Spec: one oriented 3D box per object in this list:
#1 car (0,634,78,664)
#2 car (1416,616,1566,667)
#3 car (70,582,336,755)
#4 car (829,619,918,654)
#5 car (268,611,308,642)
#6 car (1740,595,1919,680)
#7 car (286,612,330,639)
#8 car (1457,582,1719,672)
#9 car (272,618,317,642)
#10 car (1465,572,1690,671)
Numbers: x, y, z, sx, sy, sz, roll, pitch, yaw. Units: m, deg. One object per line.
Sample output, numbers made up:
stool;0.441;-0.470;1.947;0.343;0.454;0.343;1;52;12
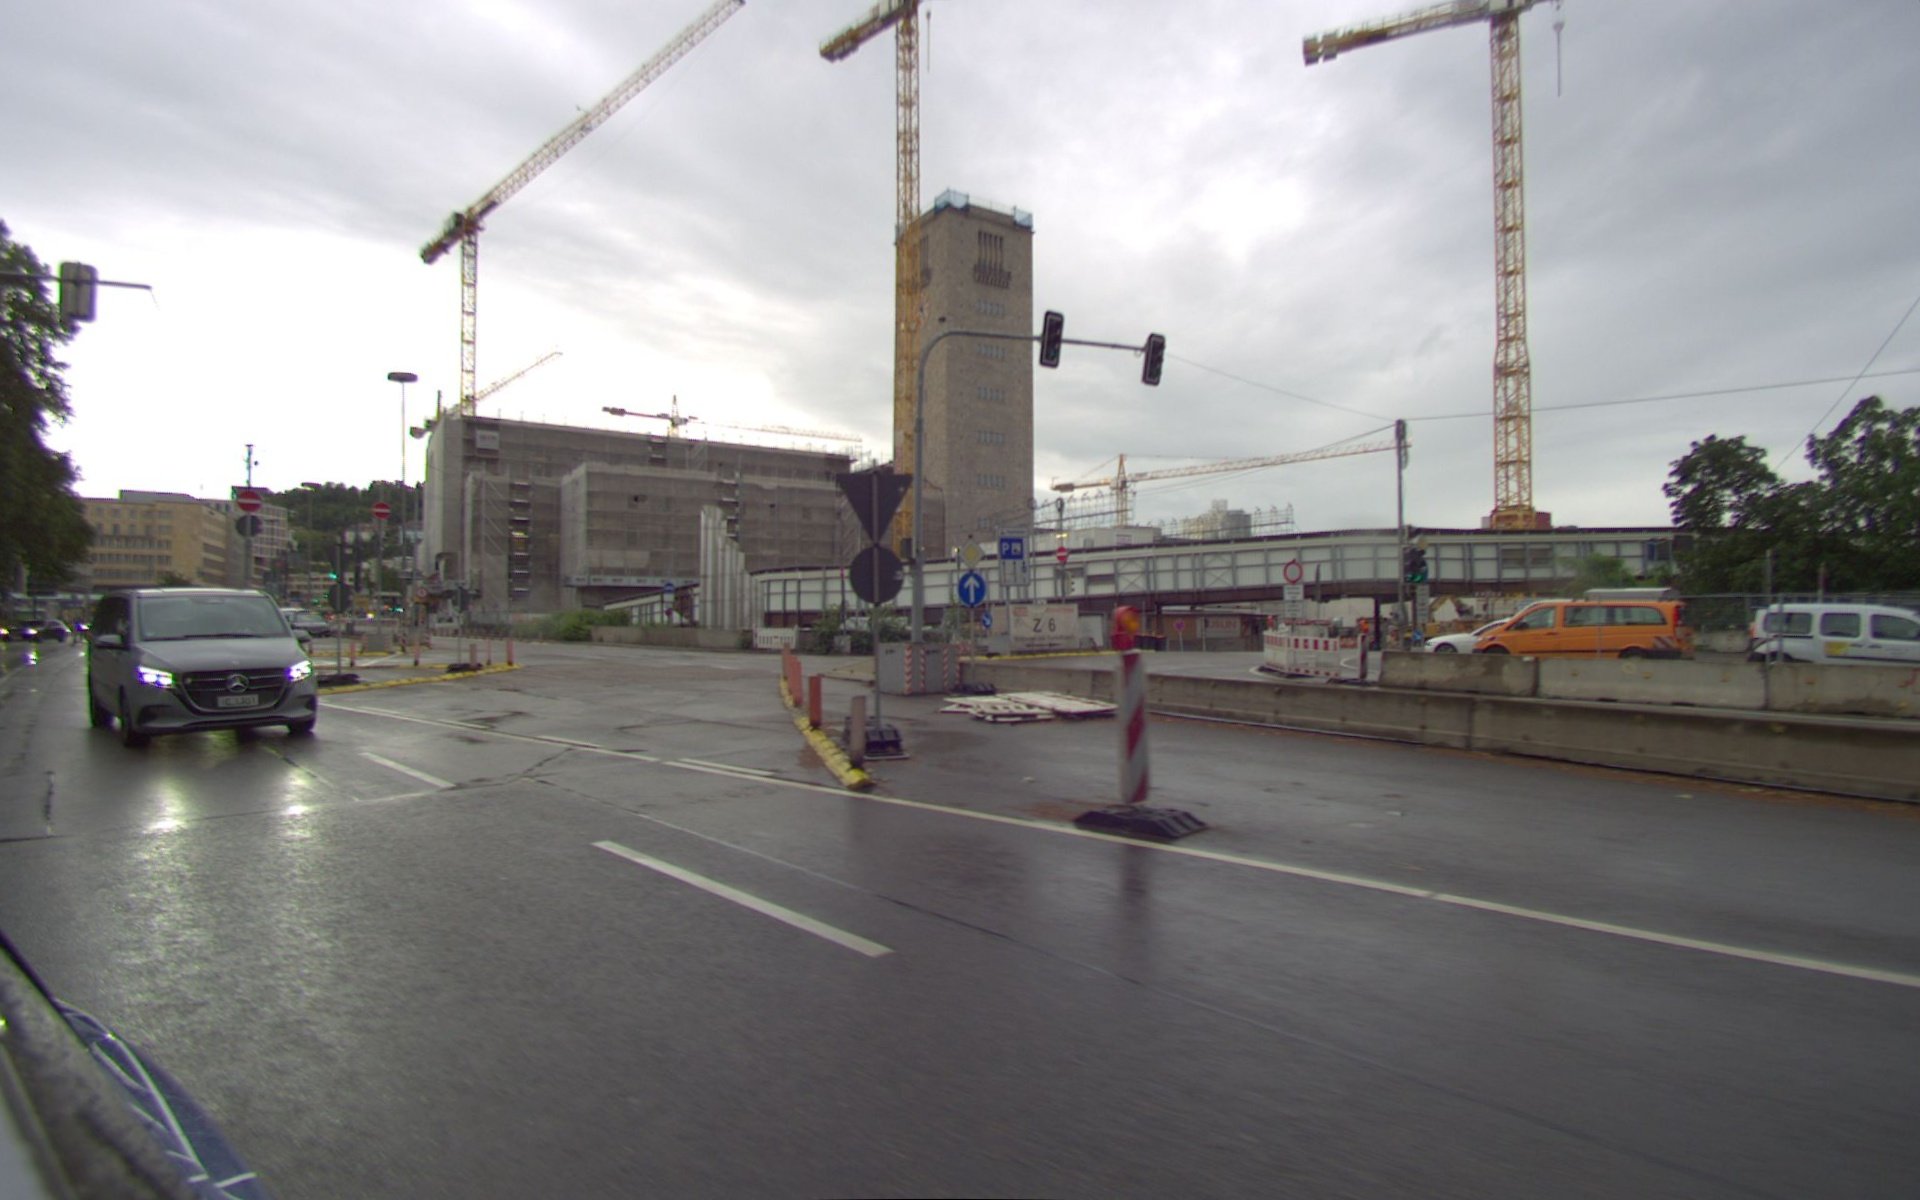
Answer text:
car;-57.358;3.037;62.741;1.971;1.777;4.002;1;-2;-3
car;16.139;1.236;30.838;3.828;1.426;1.741;0;-2;38
car;-10.247;0.817;13.508;5.358;1.870;1.971;-2;-2;43
car;-5.245;2.213;61.585;4.977;2.029;1.991;0;-2;14
car;-50.624;1.988;76.185;1.973;2.224;5.006;3;-3;-39
car;20.436;0.826;22.366;1.822;1.775;4.804;3;-3;-41
car;-42.642;1.660;66.124;1.804;1.665;4.581;3;-3;-40
car;16.422;0.716;26.751;1.970;2.117;5.587;5;-4;-44
car;-46.793;2.112;71.126;2.139;1.585;4.007;3;-3;-39
car;20.838;0.740;34.462;2.246;3.089;6.177;3;-3;-42
